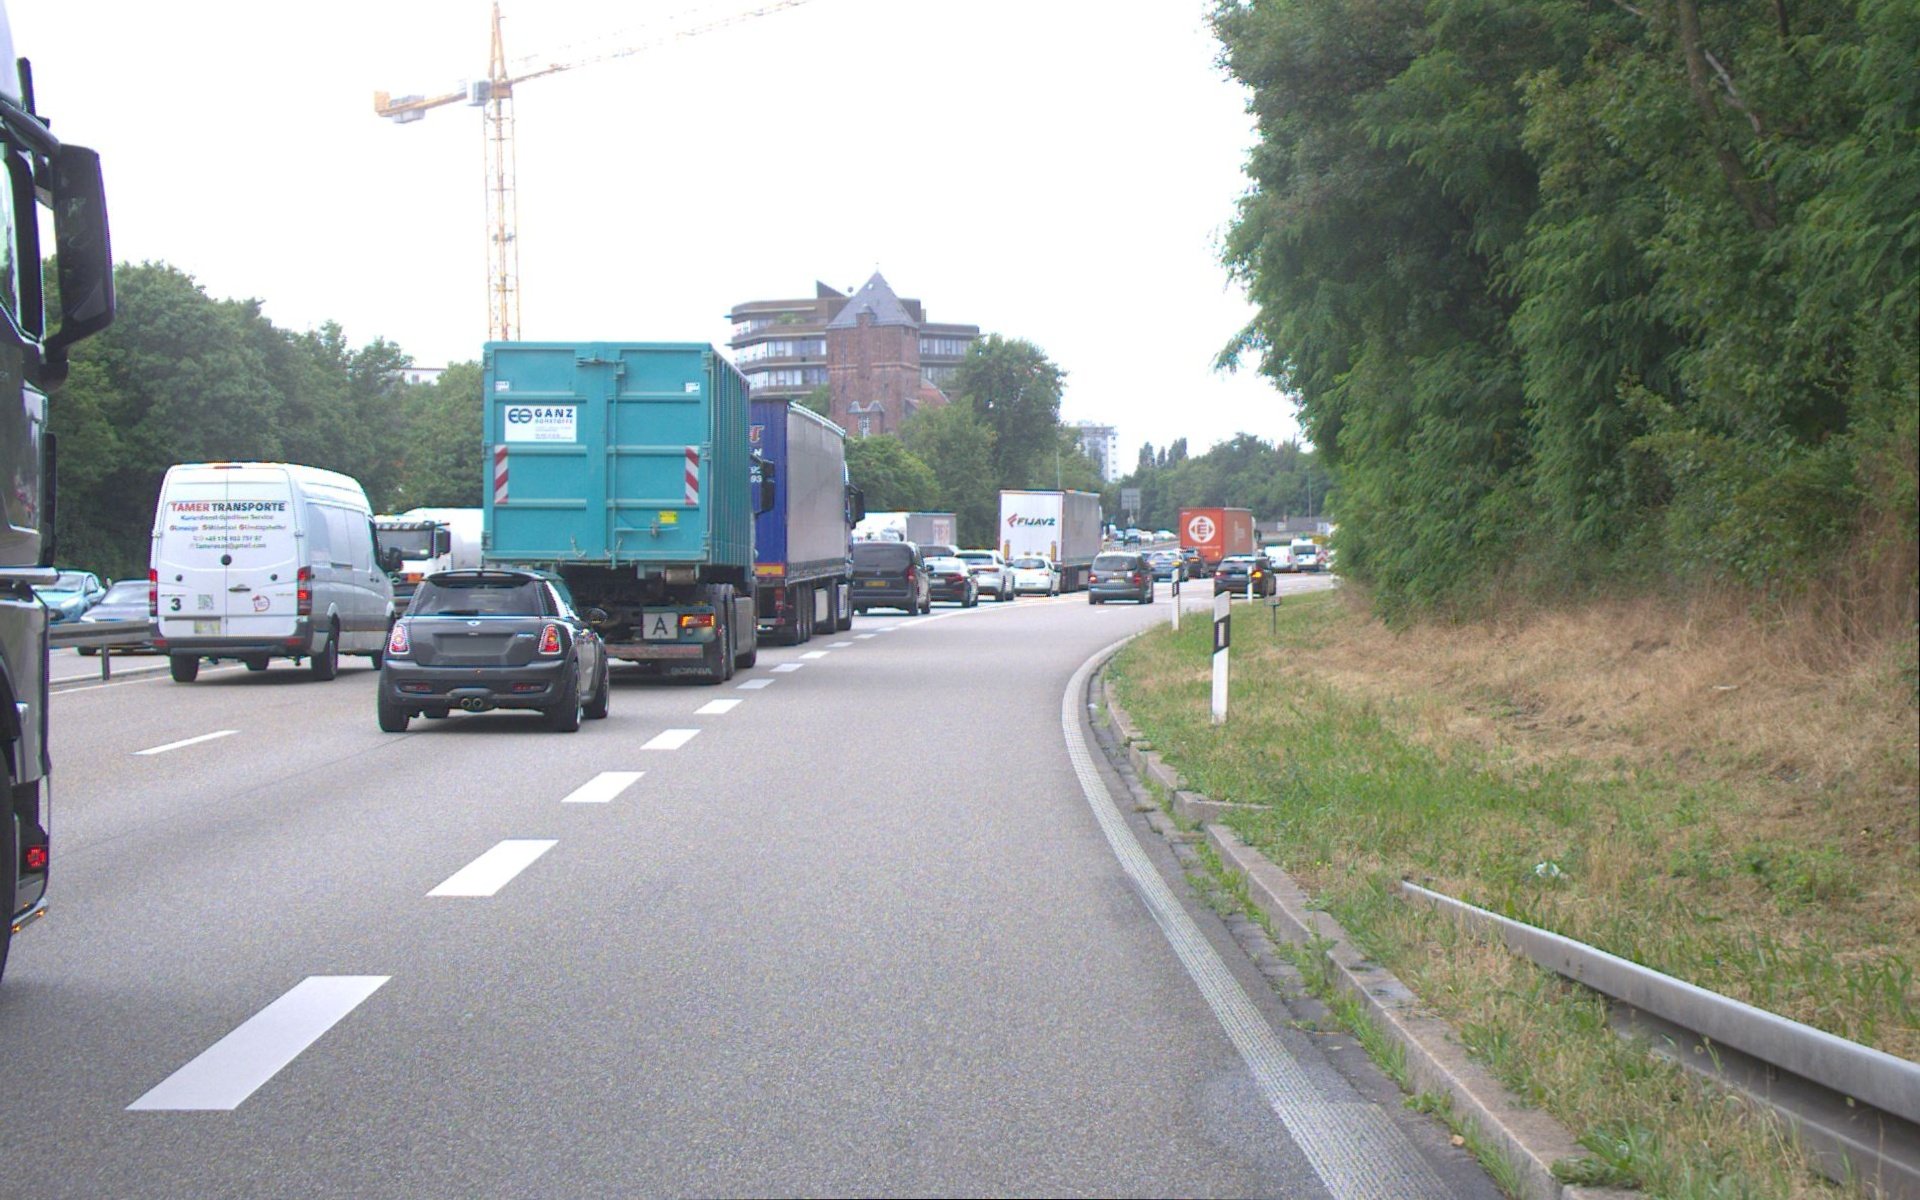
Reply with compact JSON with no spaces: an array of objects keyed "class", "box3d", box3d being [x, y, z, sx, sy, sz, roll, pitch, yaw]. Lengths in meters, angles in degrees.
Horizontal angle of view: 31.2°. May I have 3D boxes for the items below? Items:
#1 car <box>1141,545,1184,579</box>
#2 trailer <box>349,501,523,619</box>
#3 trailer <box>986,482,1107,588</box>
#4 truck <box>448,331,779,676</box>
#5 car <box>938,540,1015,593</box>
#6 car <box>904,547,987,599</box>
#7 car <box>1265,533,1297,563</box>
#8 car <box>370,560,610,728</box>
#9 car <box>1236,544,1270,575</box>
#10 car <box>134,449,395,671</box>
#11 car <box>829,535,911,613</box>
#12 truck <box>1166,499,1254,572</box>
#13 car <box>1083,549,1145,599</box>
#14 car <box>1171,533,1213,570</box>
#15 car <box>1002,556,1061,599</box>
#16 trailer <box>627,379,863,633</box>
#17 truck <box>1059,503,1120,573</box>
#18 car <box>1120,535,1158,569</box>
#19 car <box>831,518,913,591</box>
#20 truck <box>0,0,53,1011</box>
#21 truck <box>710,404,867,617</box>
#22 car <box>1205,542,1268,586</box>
[{"class":"car","box3d":[10.322,-1.923,175.296,1.718,1.678,3.998,1,0,10]},{"class":"trailer","box3d":[-16.032,-1.265,106.212,2.470,3.384,12.461,-1,1,5]},{"class":"trailer","box3d":[3.574,-2.528,137.871,3.300,4.022,13.093,1,0,8]},{"class":"truck","box3d":[-4.152,-1.159,43.924,2.929,3.783,11.331,-1,1,1]},{"class":"car","box3d":[0.581,-1.135,113.884,1.957,1.689,4.864,-1,1,7]},{"class":"car","box3d":[-0.396,-0.801,101.140,1.847,1.455,4.830,-1,1,7]},{"class":"car","box3d":[21.721,-3.515,232.669,1.615,2.007,3.998,-1,1,13]},{"class":"car","box3d":[-4.204,0.356,31.222,1.747,1.417,3.664,0,1,-1]},{"class":"car","box3d":[18.823,-2.569,220.519,1.615,1.941,3.703,1,0,13]},{"class":"car","box3d":[-8.670,-0.487,43.484,2.222,2.569,6.798,1,0,-3]},{"class":"car","box3d":[-2.288,-0.681,88.731,1.988,1.891,4.985,-2,1,-1]},{"class":"truck","box3d":[14.841,-3.812,202.988,3.491,4.059,13.585,-1,1,11]},{"class":"car","box3d":[4.791,-0.817,106.707,1.825,1.477,4.000,-1,1,4]},{"class":"car","box3d":[12.965,-2.712,191.893,1.994,2.007,3.999,-1,1,9]},{"class":"car","box3d":[2.617,-0.819,124.968,1.764,1.473,4.088,-2,1,6]},{"class":"trailer","box3d":[-3.612,-1.538,61.511,2.627,4.009,13.462,1,0,3]},{"class":"truck","box3d":[8.033,-3.772,212.072,2.739,4.124,10.694,1,0,7]},{"class":"car","box3d":[10.649,-2.866,204.630,1.818,2.007,3.999,-1,1,9]},{"class":"car","box3d":[-3.155,-1.665,124.579,1.994,2.545,5.360,-1,1,9]},{"class":"truck","box3d":[-4.344,-0.560,8.337,2.682,3.894,6.937,-1,1,-3]},{"class":"truck","box3d":[-3.354,-1.728,68.741,2.561,4.029,6.589,1,0,2]},{"class":"car","box3d":[9.612,-1.262,119.416,1.826,1.477,3.999,-1,1,9]}]
